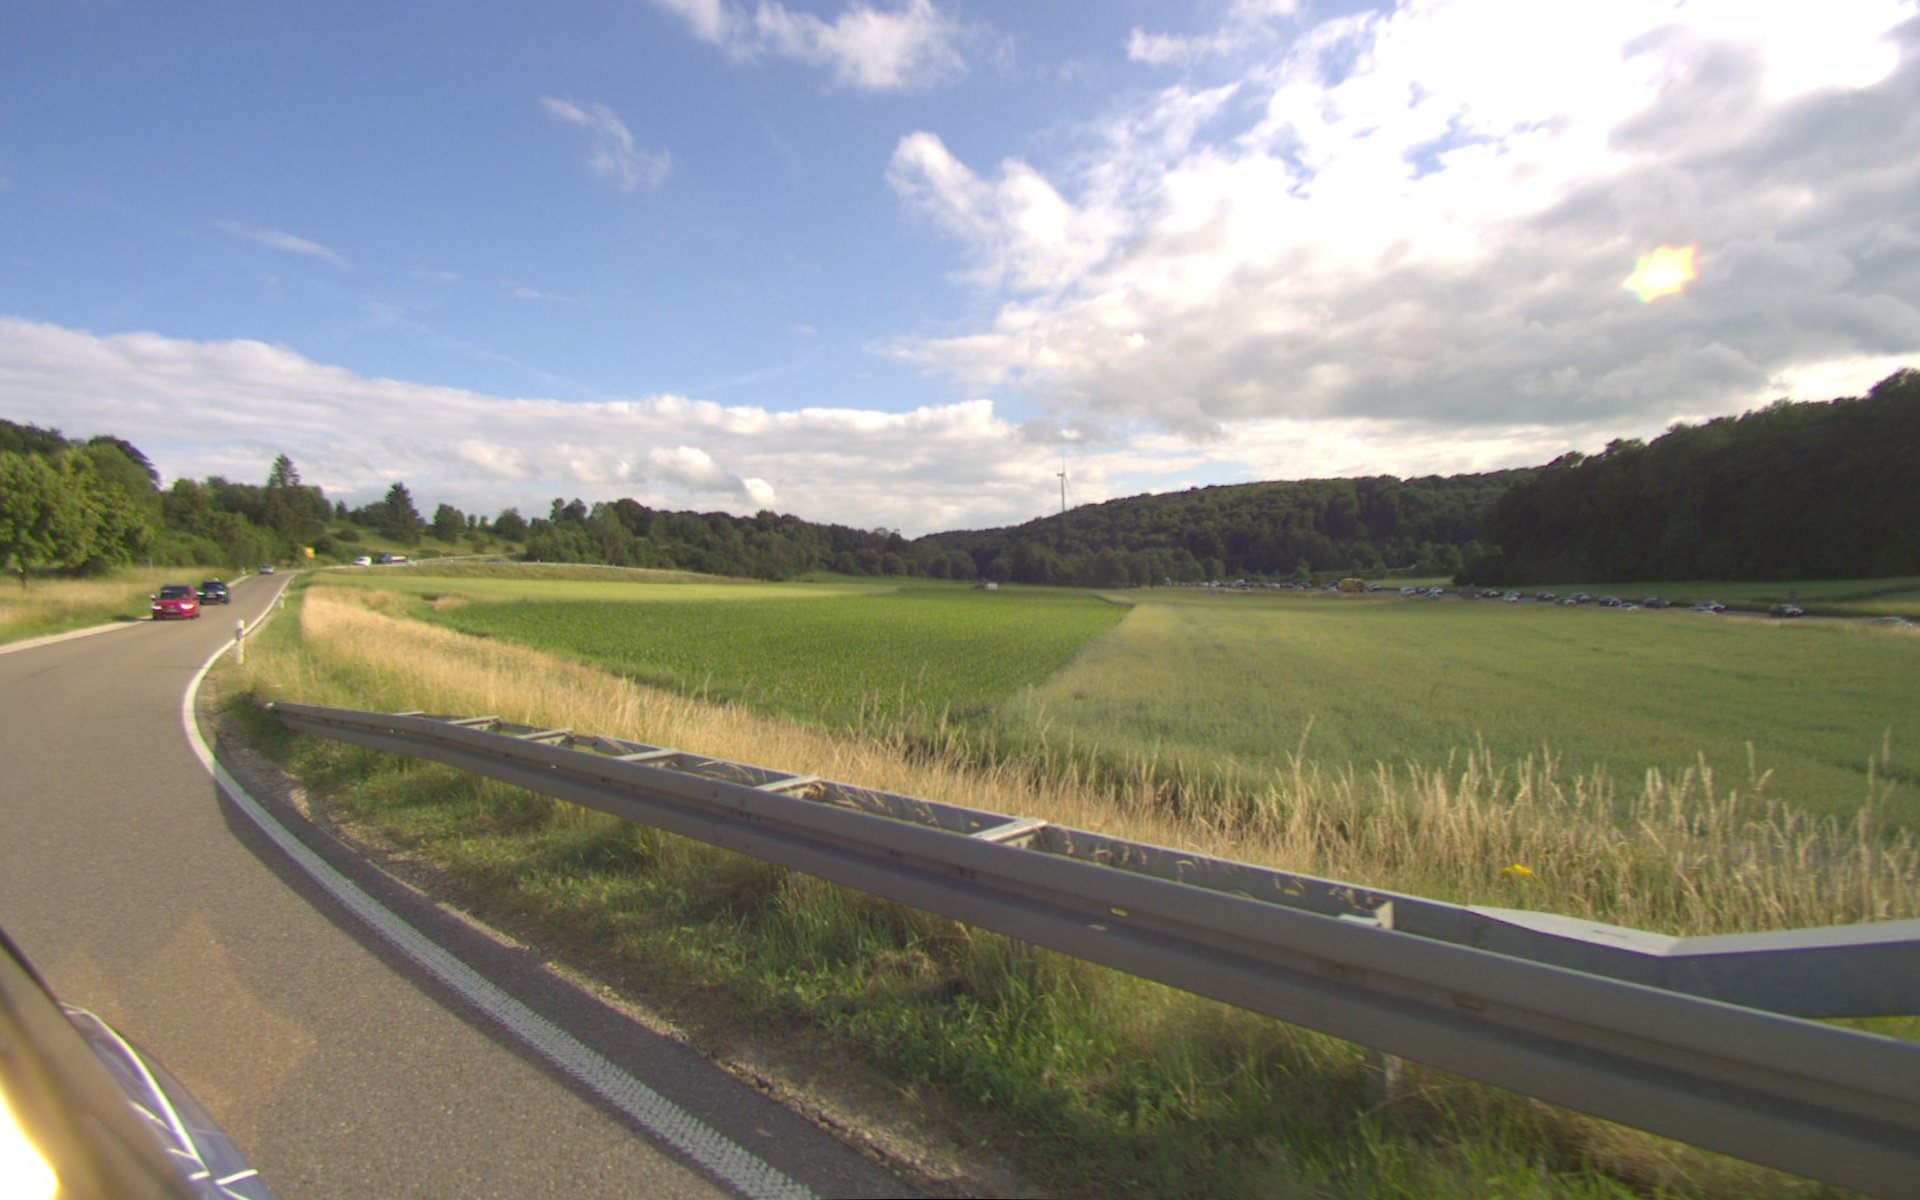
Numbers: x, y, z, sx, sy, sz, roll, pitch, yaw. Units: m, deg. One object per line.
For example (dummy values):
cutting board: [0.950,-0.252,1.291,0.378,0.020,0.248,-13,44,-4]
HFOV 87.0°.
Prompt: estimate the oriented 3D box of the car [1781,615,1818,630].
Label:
car: [101.571,2.696,122.476,1.785,1.599,3.983,-1,1,14]

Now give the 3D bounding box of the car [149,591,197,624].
car: [-41.457,0.356,53.377,1.792,1.667,4.010,1,0,-35]

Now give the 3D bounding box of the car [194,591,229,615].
car: [-53.538,0.207,72.456,1.792,1.623,4.011,1,0,-34]
